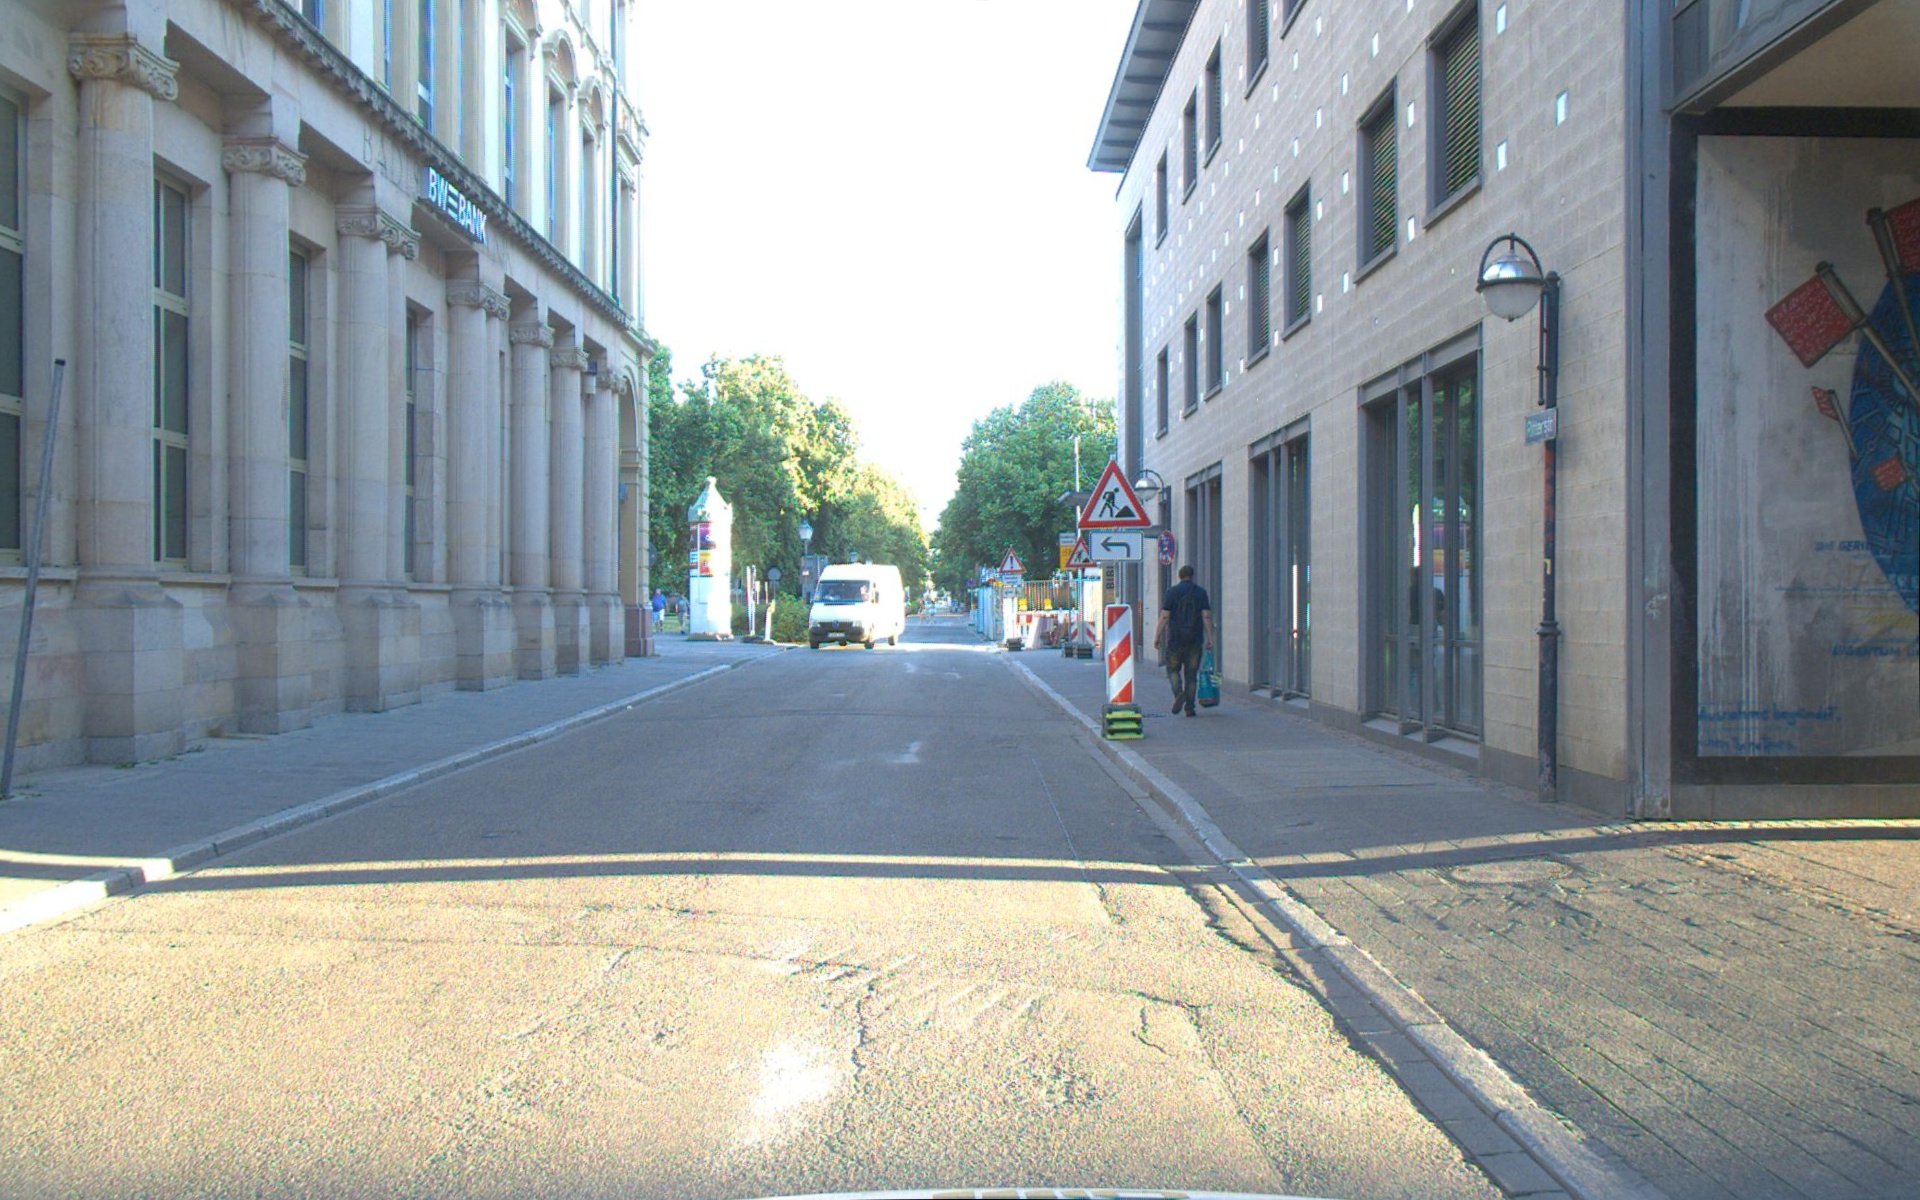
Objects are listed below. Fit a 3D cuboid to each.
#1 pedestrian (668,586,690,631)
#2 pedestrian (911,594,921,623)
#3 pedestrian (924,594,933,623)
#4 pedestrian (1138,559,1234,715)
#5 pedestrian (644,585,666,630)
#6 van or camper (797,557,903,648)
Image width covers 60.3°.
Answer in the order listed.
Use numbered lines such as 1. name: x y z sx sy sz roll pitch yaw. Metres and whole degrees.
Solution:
1. pedestrian: -11.554 0.335 68.003 0.835 1.839 0.661 0 0 -14
2. pedestrian: -3.111 0.626 116.928 0.598 2.049 0.903 0 0 -9
3. pedestrian: -2.227 0.606 116.209 0.570 2.049 0.680 0 0 -9
4. pedestrian: 2.735 0.442 20.103 0.980 1.835 0.881 -1 -1 -2
5. pedestrian: -12.502 0.295 67.719 0.835 1.839 0.661 0 0 -14
6. van or camper: -3.293 0.050 50.986 2.172 2.630 6.376 0 0 6
